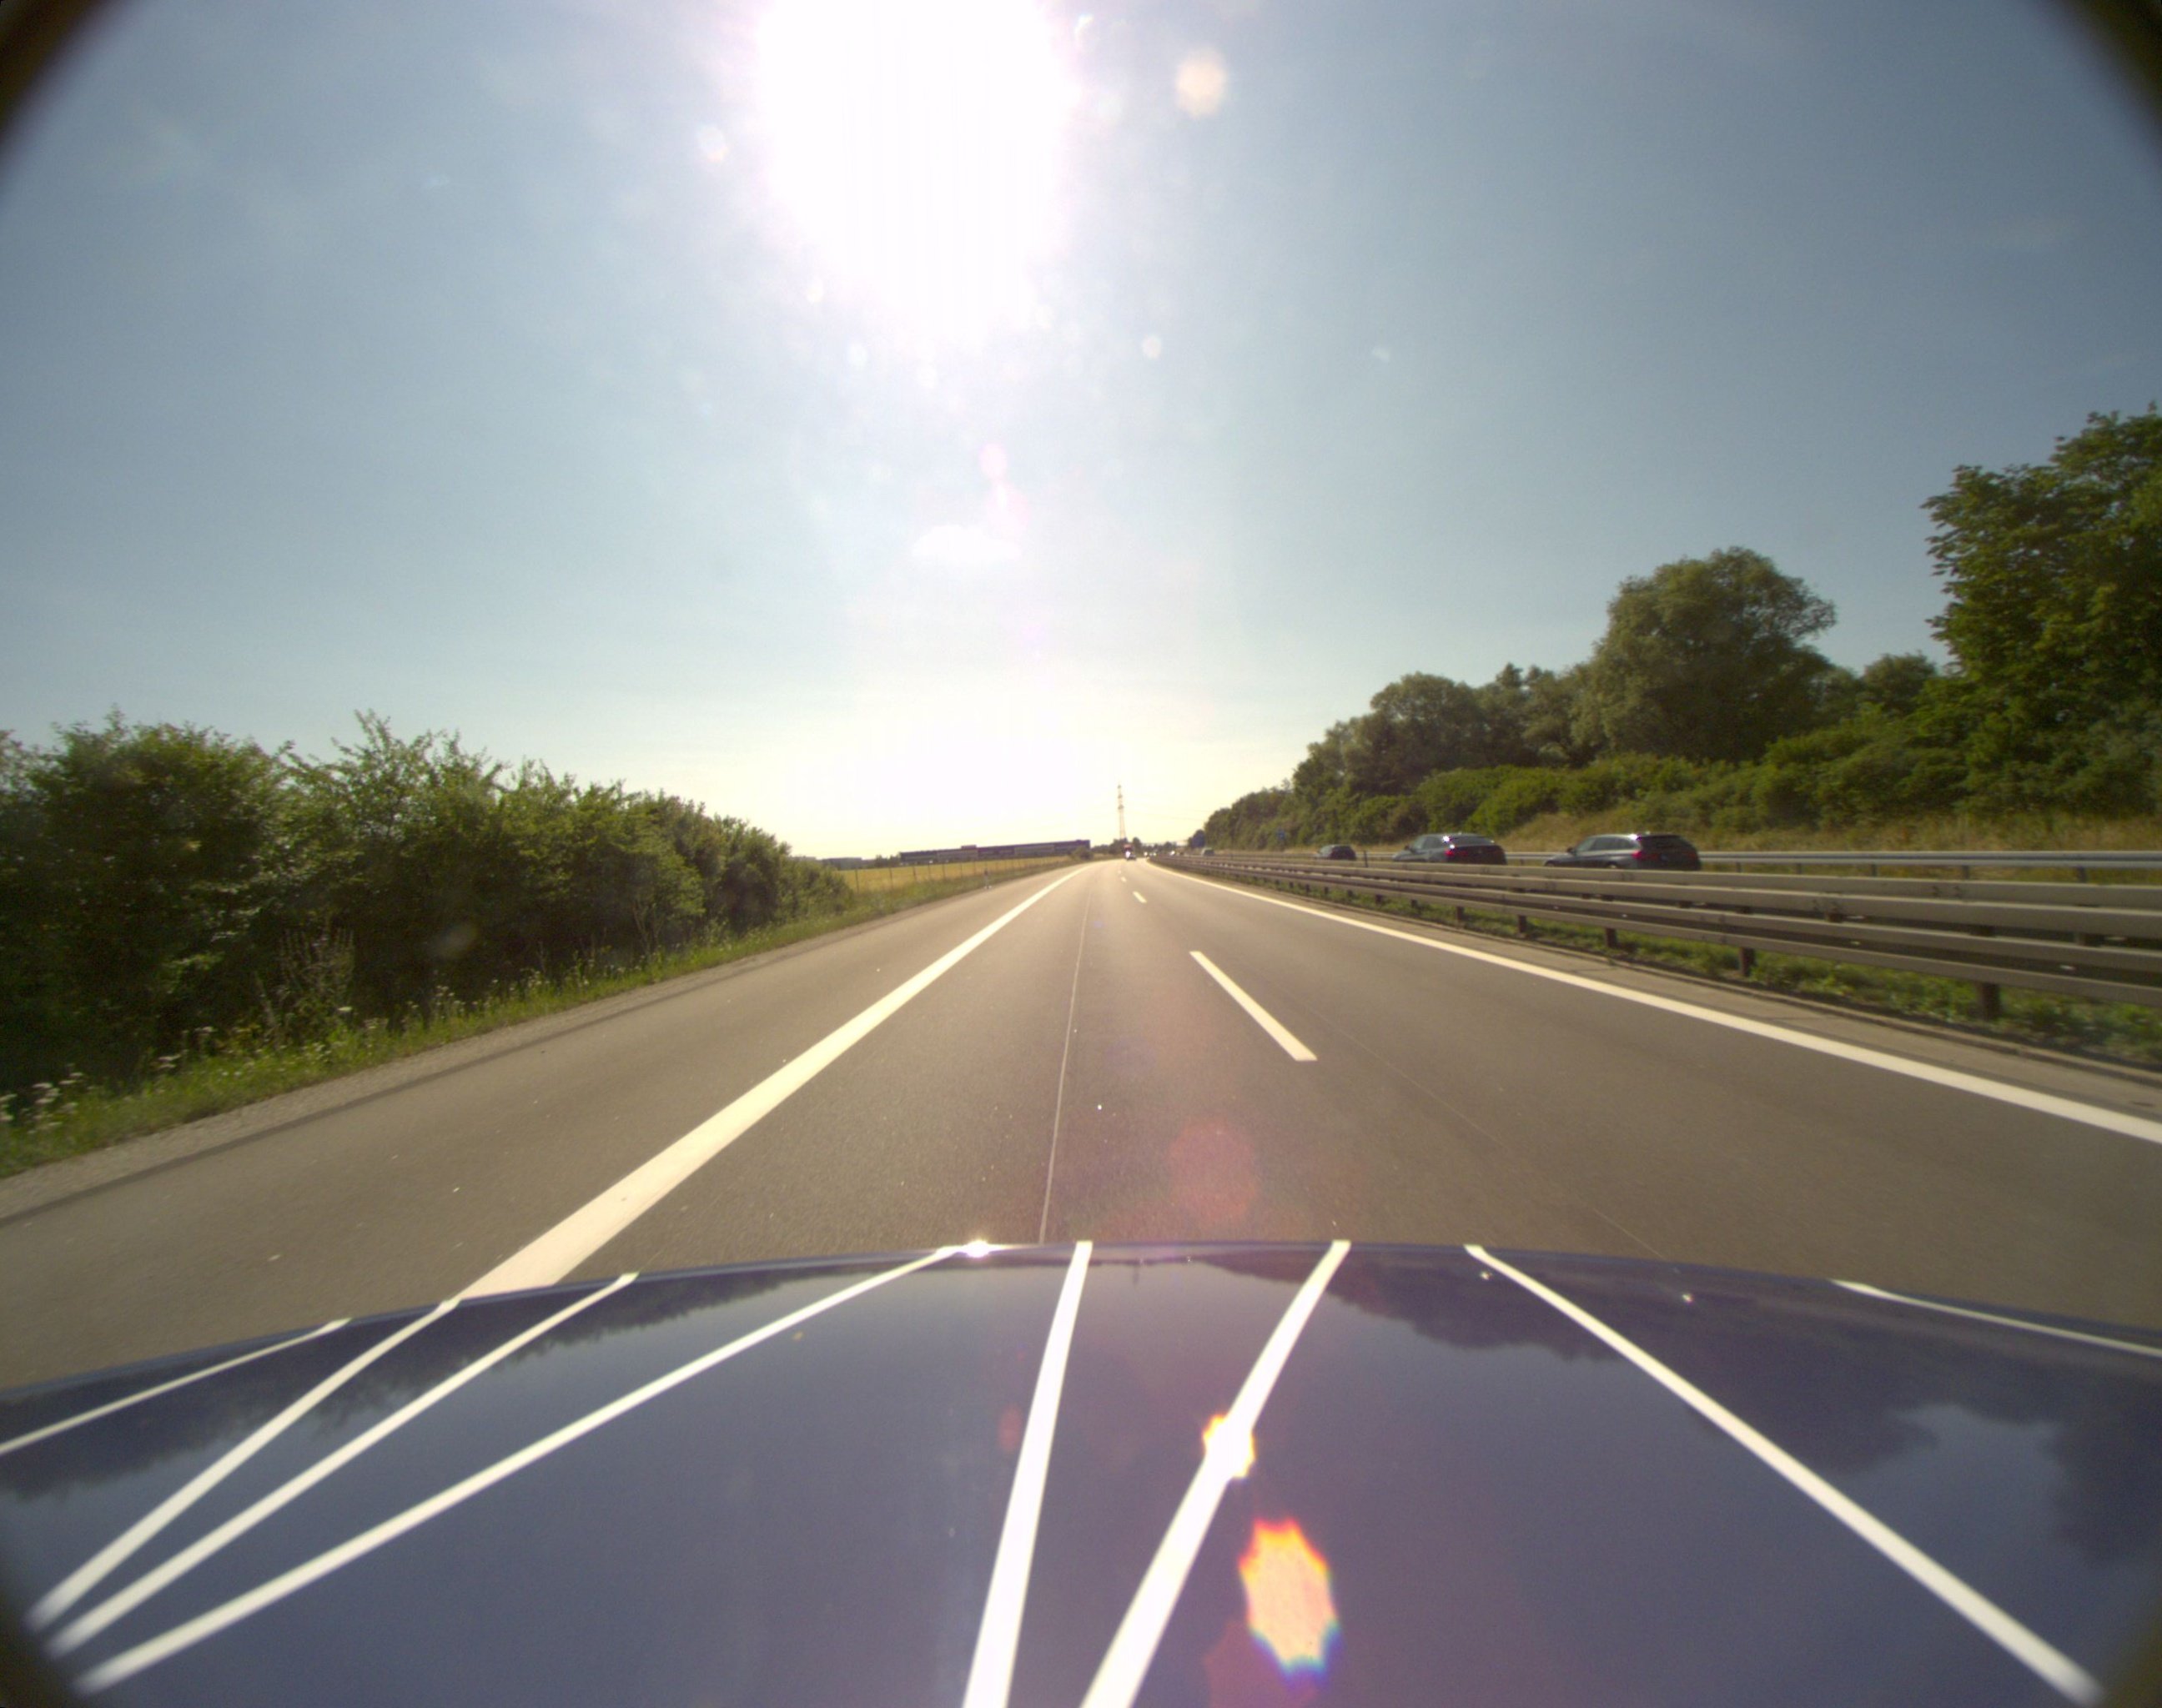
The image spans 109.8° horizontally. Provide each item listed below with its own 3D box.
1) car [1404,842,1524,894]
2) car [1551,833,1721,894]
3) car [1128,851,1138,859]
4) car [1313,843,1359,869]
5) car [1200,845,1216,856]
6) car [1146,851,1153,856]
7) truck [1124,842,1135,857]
[{"bbox_3d":[11.542,0.378,23.210,1.666,1.414,4.000,-2,0,1],"label":"car"},{"bbox_3d":[14.756,0.217,20.508,1.666,1.414,4.000,-2,0,1],"label":"car"},{"bbox_3d":[10.297,0.149,150.230,1.860,1.361,4.001,-2,0,5],"label":"car"},{"bbox_3d":[15.994,0.109,47.782,1.582,1.453,4.153,-3,0,2],"label":"car"},{"bbox_3d":[19.342,-0.516,115.982,1.755,1.555,4.580,-3,0,3],"label":"car"},{"bbox_3d":[22.757,-0.242,252.981,1.755,1.555,4.580,-3,0,2],"label":"car"},{"bbox_3d":[14.321,-1.327,224.317,2.569,3.938,8.648,-5,0,7],"label":"truck"}]
